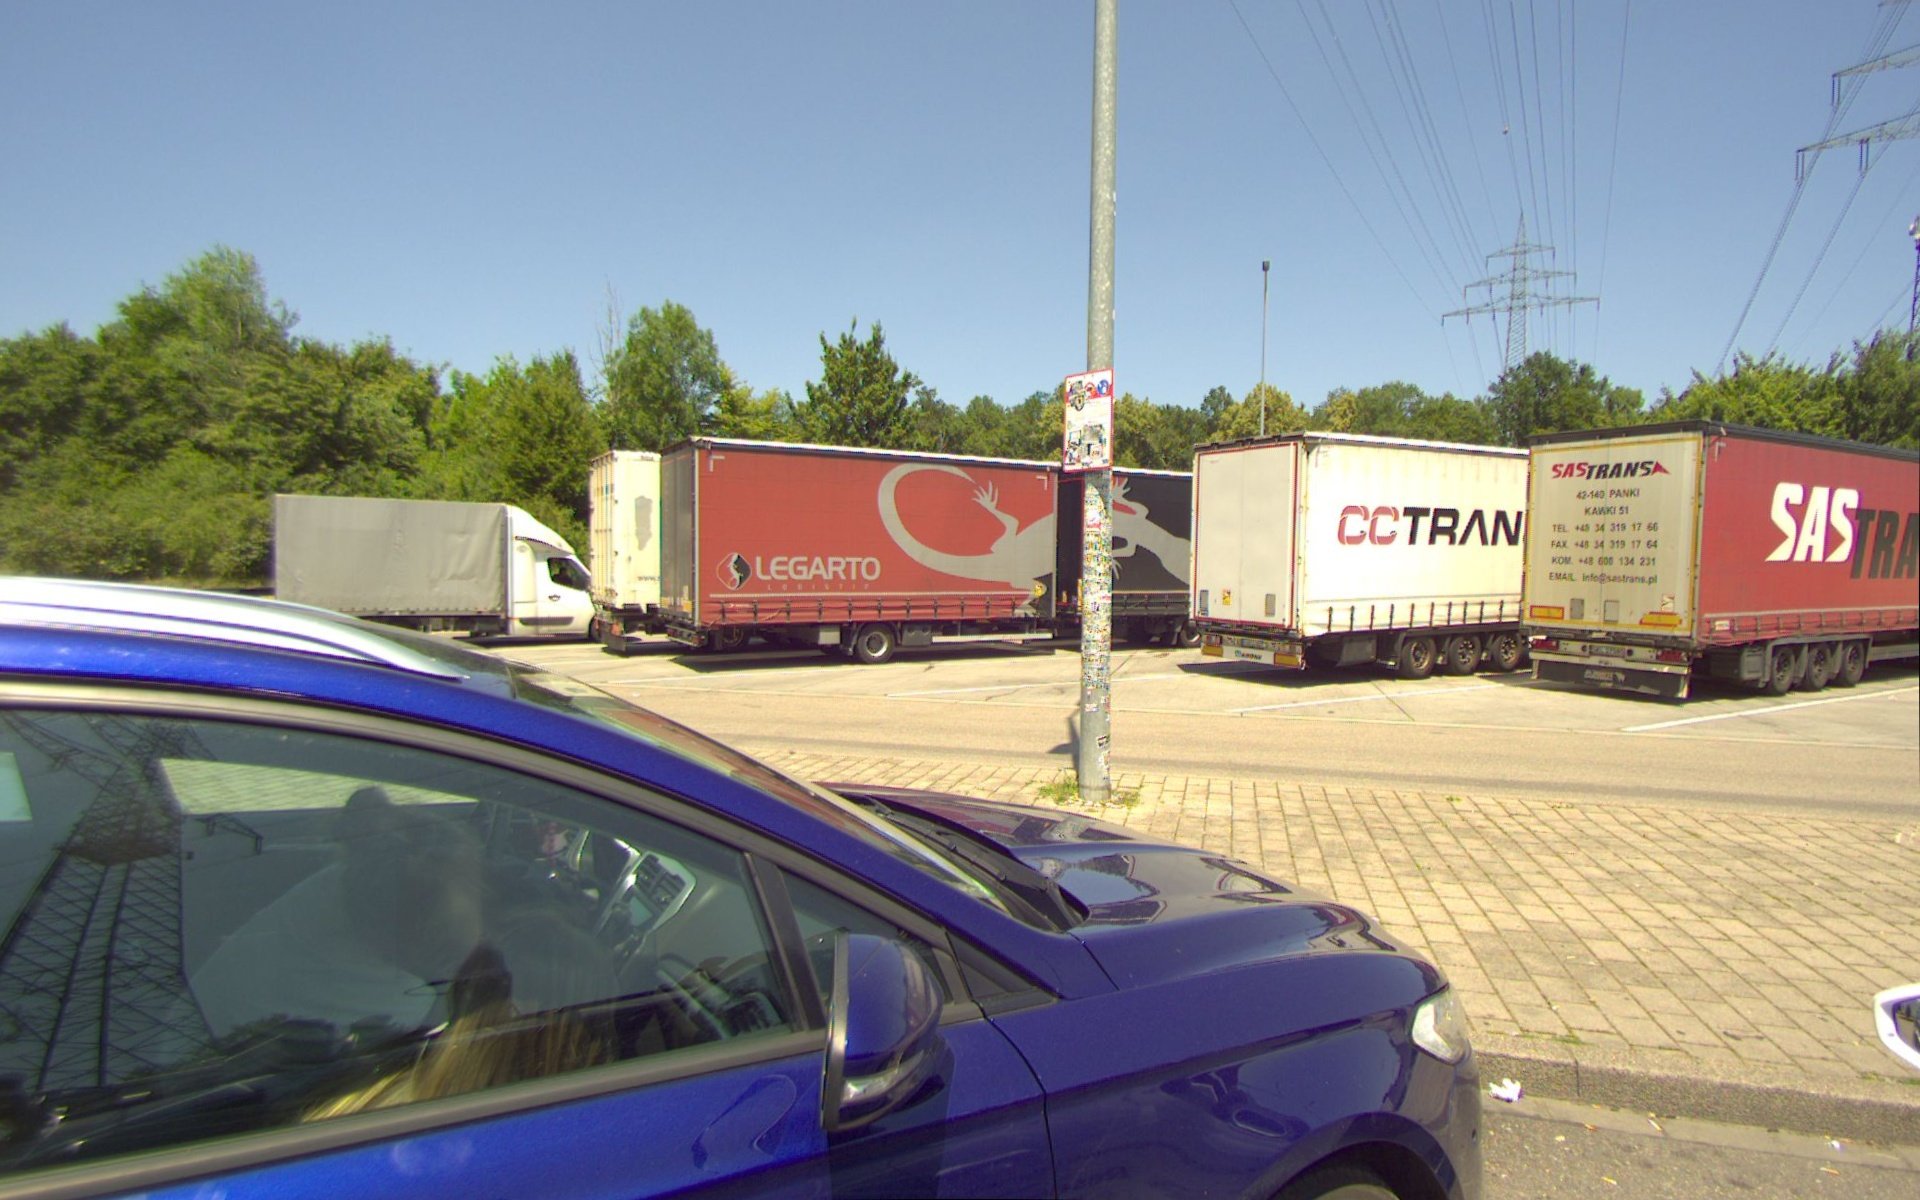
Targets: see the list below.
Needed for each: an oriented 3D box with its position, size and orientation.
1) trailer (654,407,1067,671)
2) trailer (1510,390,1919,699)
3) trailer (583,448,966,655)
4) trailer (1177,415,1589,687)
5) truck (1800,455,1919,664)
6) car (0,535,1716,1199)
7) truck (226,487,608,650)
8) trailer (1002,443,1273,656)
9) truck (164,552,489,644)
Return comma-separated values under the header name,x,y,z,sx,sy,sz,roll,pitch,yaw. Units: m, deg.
name,x,y,z,sx,sy,sz,roll,pitch,yaw
trailer,-1.841,-1.025,20.316,7.963,4.510,2.648,0,0,-31
trailer,15.268,-0.735,18.434,13.046,4.276,2.786,0,0,-31
trailer,-4.073,-0.937,22.919,8.189,4.053,2.720,0,0,-30
trailer,8.112,-0.765,18.831,8.189,4.208,2.741,0,1,-30
truck,21.451,-0.795,22.069,5.824,4.189,2.792,0,0,-30
car,-0.952,0.672,1.458,4.362,1.437,1.731,1,0,-30
truck,-11.785,-0.601,22.390,7.171,3.194,2.160,0,1,-30
trailer,4.279,-1.037,23.920,6.076,4.504,2.665,1,0,-30
truck,-15.290,-0.038,24.770,6.538,2.040,1.984,0,0,-30
